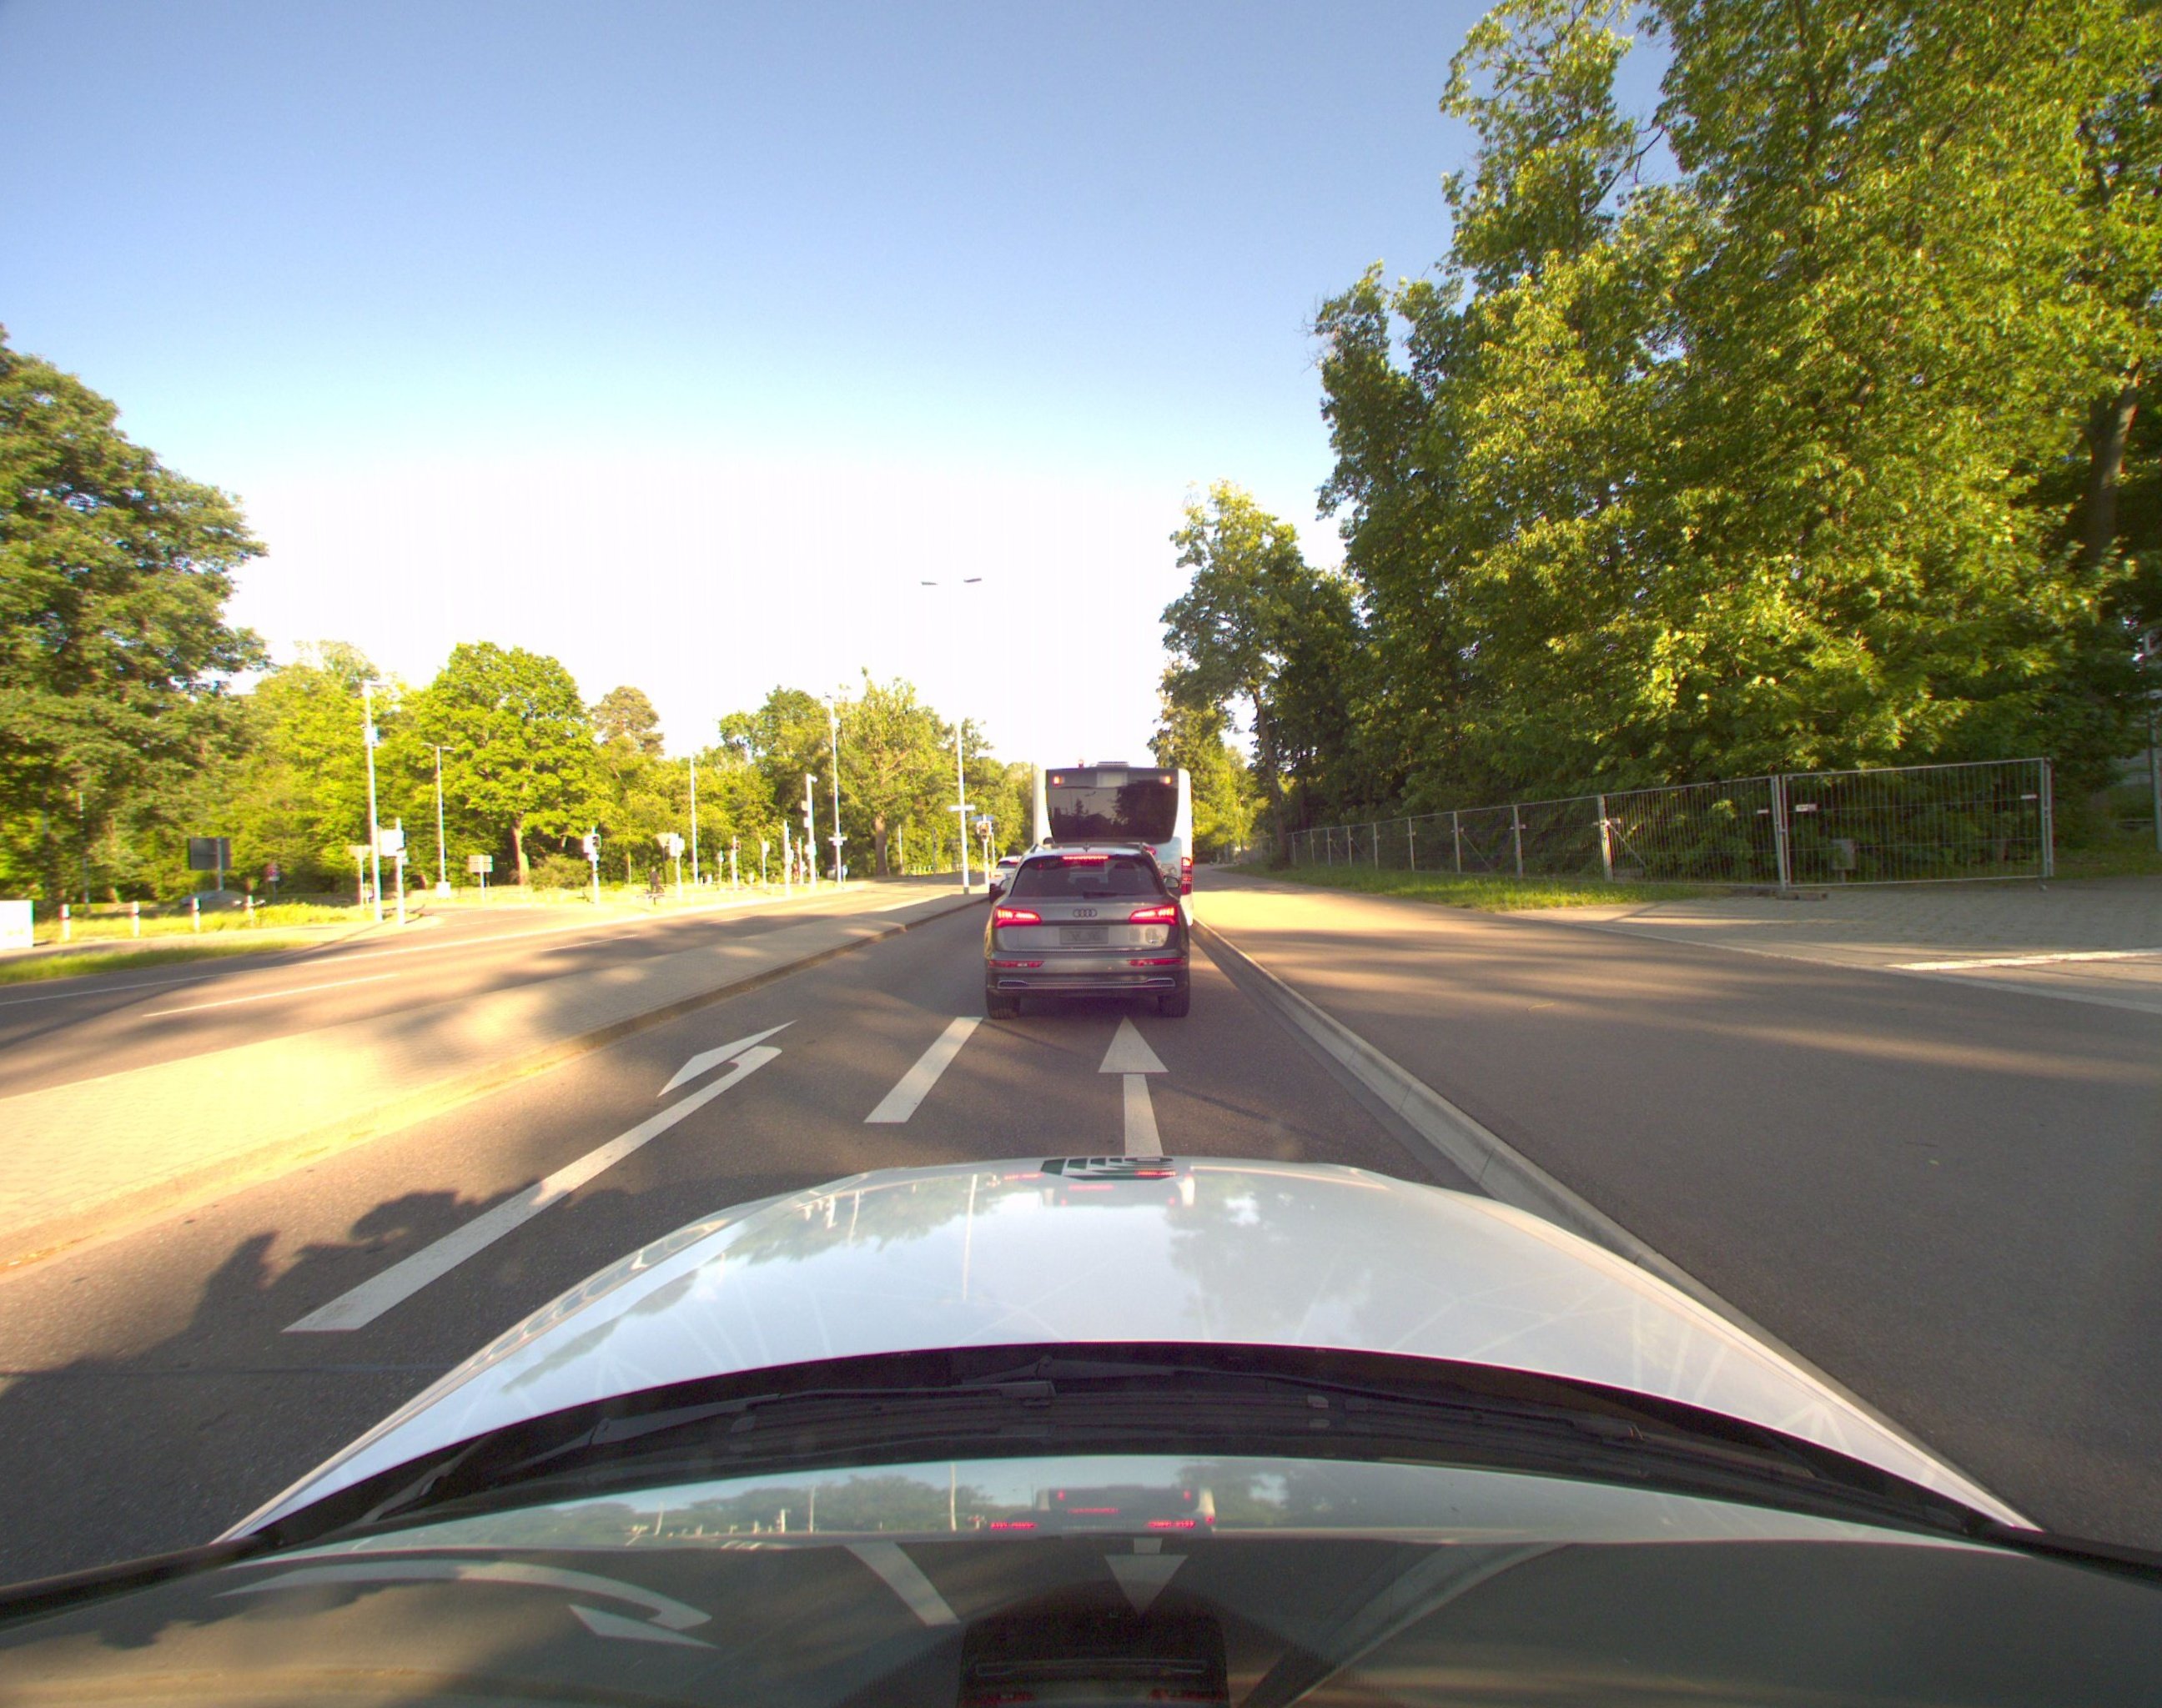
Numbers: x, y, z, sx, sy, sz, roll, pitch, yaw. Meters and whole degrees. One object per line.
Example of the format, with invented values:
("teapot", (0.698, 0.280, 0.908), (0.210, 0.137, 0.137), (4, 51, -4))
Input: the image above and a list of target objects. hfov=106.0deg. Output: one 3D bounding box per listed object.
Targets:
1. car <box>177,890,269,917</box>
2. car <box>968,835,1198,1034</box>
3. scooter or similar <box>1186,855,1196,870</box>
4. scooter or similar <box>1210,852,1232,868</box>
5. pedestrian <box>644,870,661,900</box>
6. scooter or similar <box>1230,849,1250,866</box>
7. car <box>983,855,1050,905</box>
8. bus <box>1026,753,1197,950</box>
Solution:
("car", (-52.608, 3.011, 49.972), (4.081, 1.387, 1.755), (-3, 0, 6))
("car", (0.075, 0.672, 8.770), (1.891, 1.632, 4.002), (-1, 0, 2))
("scooter or similar", (10.919, 0.834, 80.823), (0.507, 1.444, 2.020), (-3, 0, -3))
("scooter or similar", (13.419, 0.577, 78.066), (2.025, 1.444, 0.601), (-3, 0, -23))
("pedestrian", (-22.706, 1.646, 43.167), (0.652, 1.560, 0.533), (-2, -1, -41))
("scooter or similar", (15.503, 0.374, 79.313), (0.543, 1.567, 1.999), (-3, 0, -37))
("car", (-2.127, 0.828, 27.935), (1.829, 1.518, 4.002), (-2, 0, 2))
("bus", (0.613, 0.008, 17.219), (2.585, 2.989, 9.330), (-1, -1, 2))
